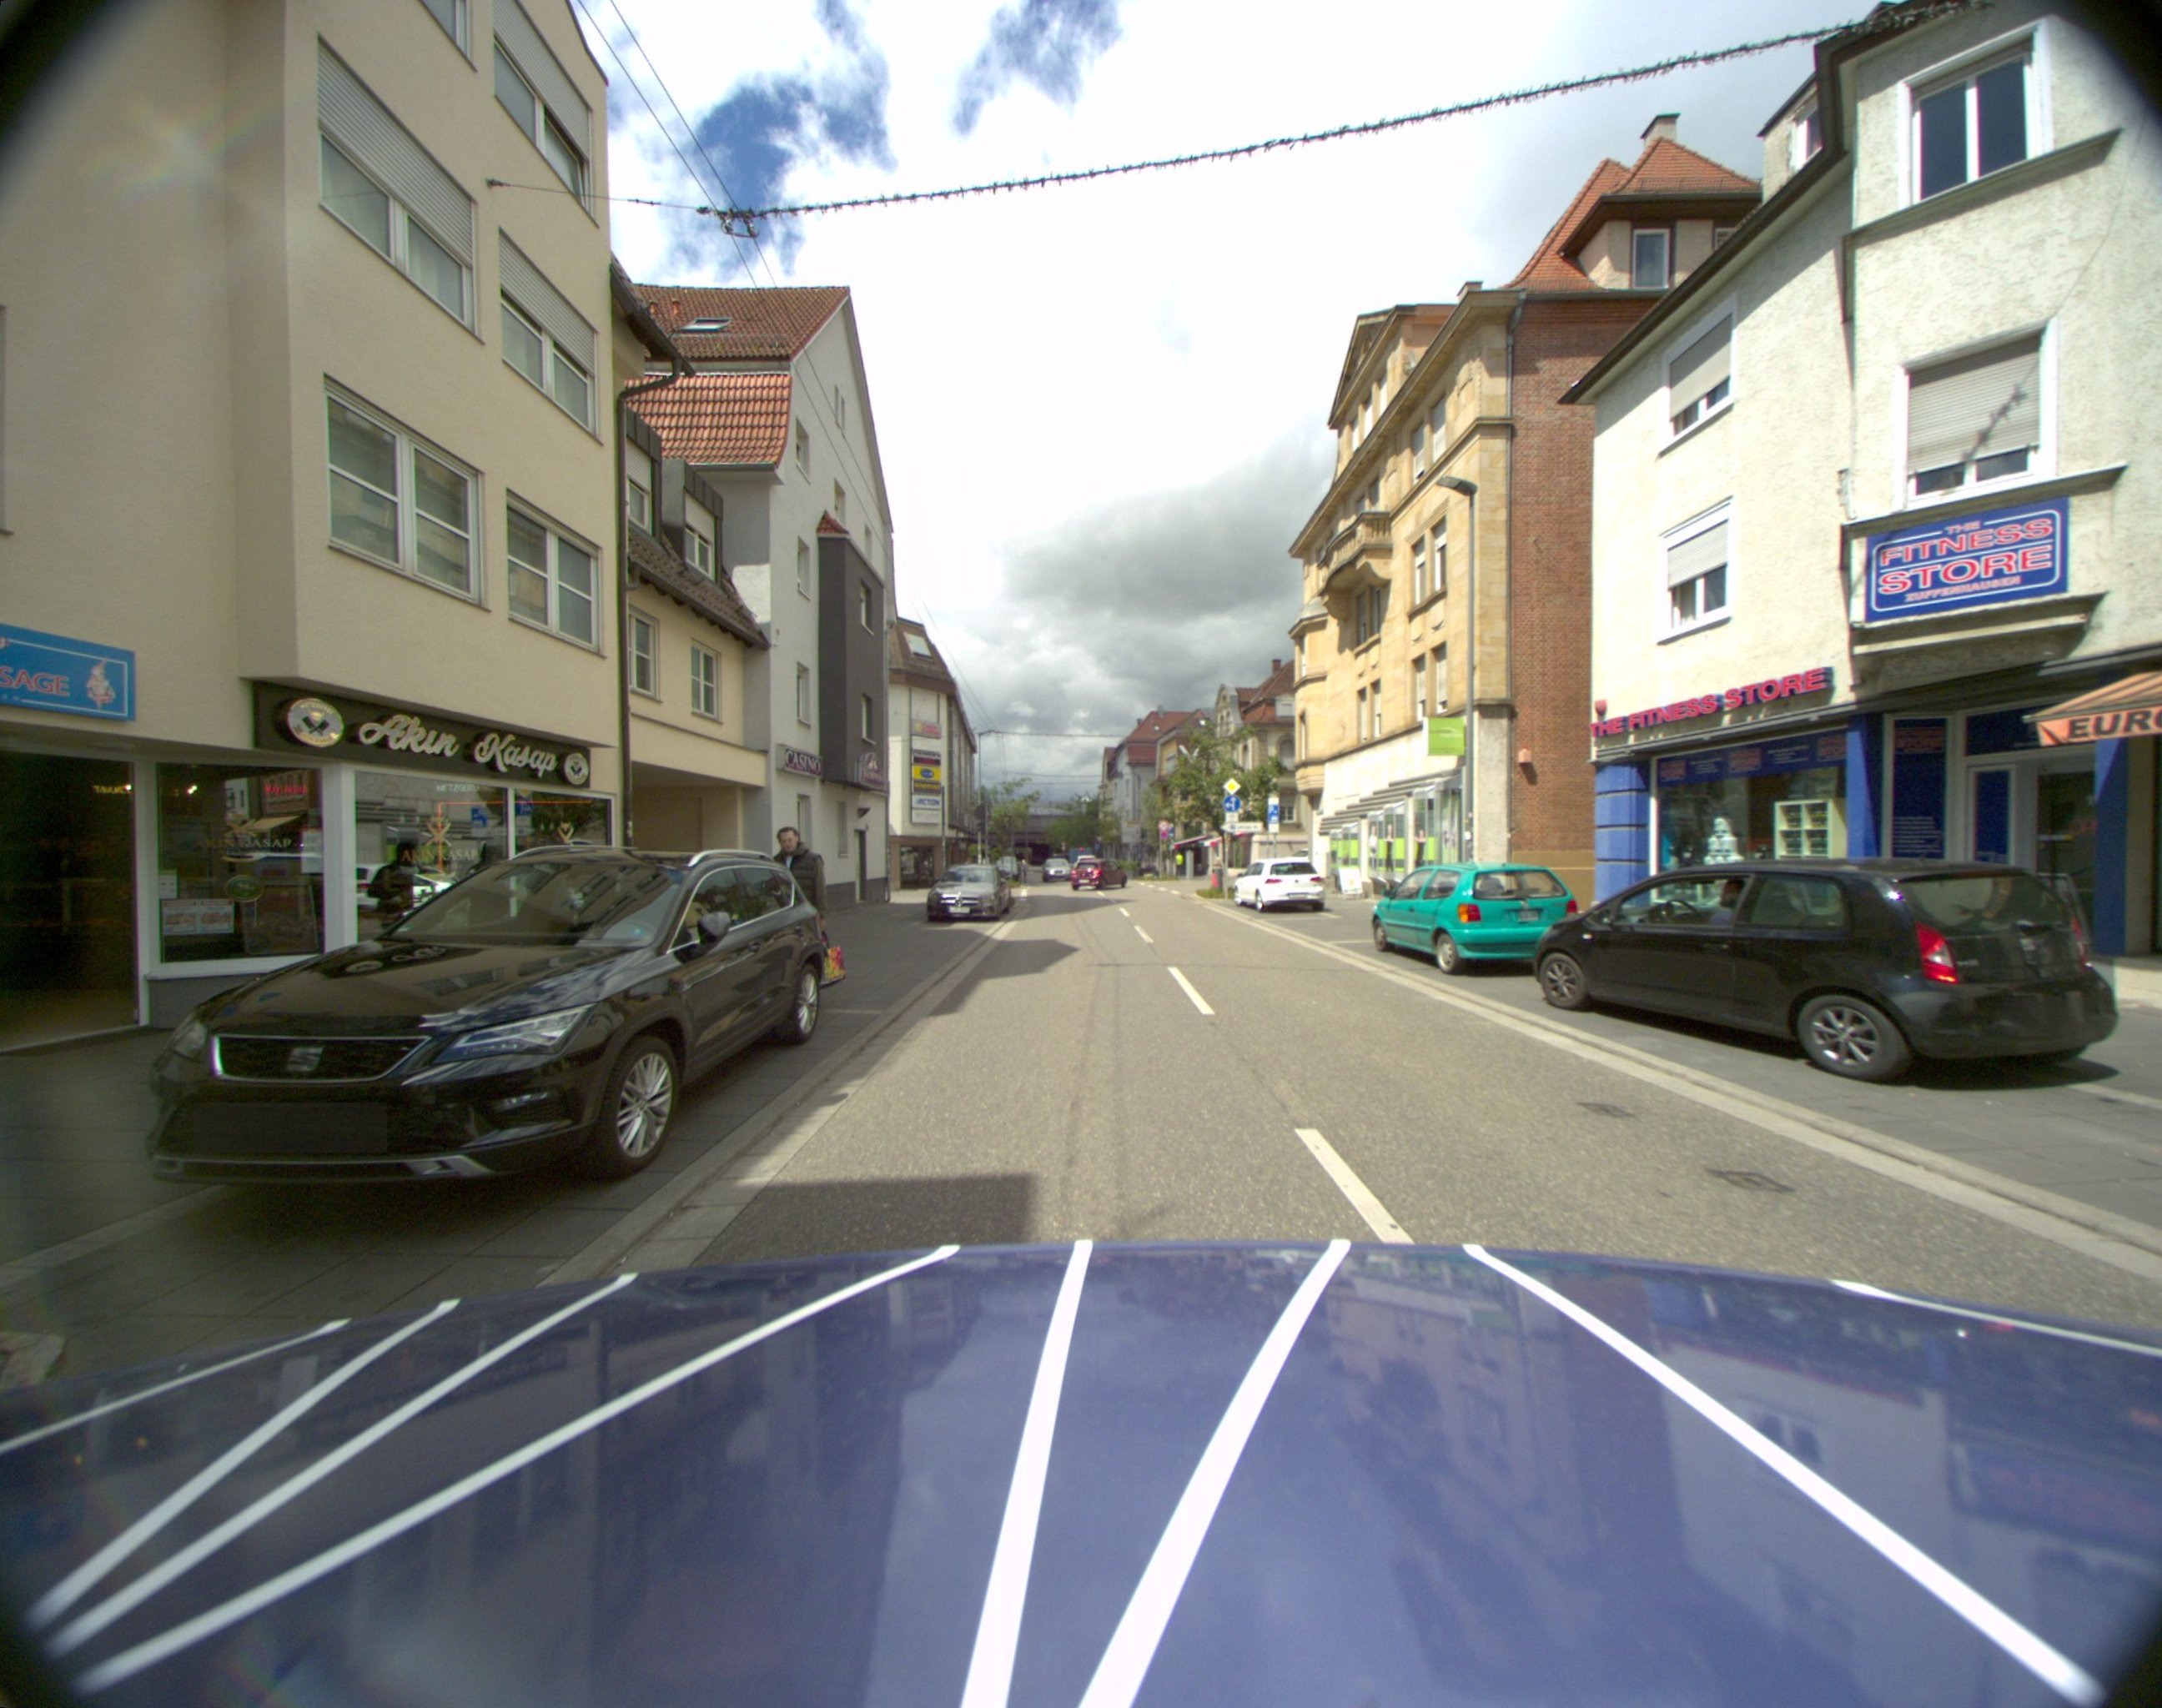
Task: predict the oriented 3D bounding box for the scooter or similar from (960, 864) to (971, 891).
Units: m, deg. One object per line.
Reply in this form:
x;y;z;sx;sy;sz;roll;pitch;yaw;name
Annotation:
-5.923;1.198;38.863;0.432;1.273;1.248;-2;1;-5;scooter or similar

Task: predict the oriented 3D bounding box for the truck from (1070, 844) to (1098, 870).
0.206;0.221;71.433;2.112;2.292;6.472;-2;1;-3;truck

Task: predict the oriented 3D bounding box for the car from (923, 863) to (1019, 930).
-2.829;1.049;20.416;1.711;1.412;4.318;-2;1;3;car

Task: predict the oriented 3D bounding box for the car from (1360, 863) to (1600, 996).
5.398;0.921;10.830;1.589;1.406;3.668;-2;1;2;car

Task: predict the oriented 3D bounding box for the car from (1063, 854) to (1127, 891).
0.726;0.862;36.343;1.533;1.521;3.765;-2;1;27;car

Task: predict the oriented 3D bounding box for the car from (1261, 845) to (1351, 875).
12.422;0.325;41.909;4.391;1.373;1.996;-3;1;-20;car

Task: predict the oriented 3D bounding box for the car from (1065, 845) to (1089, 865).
-0.637;0.055;108.001;2.310;2.657;7.263;-2;1;-8;car

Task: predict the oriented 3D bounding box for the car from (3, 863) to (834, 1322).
-3.076;0.898;4.873;1.804;1.594;4.202;1;0;-3;car

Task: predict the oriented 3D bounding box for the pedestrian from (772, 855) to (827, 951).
-5.157;0.880;13.960;0.745;1.708;0.655;-1;1;-1;pedestrian

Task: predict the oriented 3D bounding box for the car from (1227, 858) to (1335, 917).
5.619;0.884;21.902;1.851;1.390;4.035;-2;1;-3;car

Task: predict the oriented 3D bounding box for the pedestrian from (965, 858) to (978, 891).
-5.622;1.042;39.143;0.572;1.693;0.481;-2;2;-7;pedestrian

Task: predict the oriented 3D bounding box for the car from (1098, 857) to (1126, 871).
2.869;0.950;71.843;1.723;1.296;4.463;-1;-1;-9;car

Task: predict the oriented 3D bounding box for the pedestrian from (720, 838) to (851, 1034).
-2.938;0.777;7.655;0.978;1.853;0.864;1;1;-1;pedestrian

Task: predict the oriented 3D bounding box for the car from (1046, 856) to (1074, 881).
-1.342;0.915;49.318;1.724;1.517;3.597;-1;0;-1;car

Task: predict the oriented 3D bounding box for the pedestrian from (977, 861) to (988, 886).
-6.388;1.242;49.278;0.661;1.553;0.477;-2;2;-3;pedestrian

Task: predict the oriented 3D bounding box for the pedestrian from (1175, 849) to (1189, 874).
7.282;0.509;54.880;0.801;1.746;0.812;-2;2;-8;pedestrian

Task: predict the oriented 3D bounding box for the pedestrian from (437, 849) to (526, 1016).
-6.394;0.815;8.122;0.437;1.708;0.537;-2;2;-3;pedestrian

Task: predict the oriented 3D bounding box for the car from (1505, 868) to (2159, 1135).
5.549;0.889;6.301;1.602;1.437;3.553;-2;0;-11;car

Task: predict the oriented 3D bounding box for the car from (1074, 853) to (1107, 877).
0.768;0.799;56.874;1.791;1.630;4.118;-2;1;10;car

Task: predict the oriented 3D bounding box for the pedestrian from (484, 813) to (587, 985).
-5.676;0.448;7.937;0.537;1.708;0.606;-2;2;-1;pedestrian

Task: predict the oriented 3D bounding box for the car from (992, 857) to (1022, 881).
-4.718;0.921;48.799;1.720;1.445;4.550;-1;0;-3;car

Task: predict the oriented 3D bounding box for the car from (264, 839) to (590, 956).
-11.980;0.756;14.153;4.358;1.921;1.954;2;0;0;car

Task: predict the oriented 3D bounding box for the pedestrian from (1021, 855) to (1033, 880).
-3.498;0.863;49.521;0.584;1.591;0.549;-2;2;17;pedestrian

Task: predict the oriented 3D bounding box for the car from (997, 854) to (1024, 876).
-5.661;0.836;61.316;1.825;1.652;4.465;1;0;-1;car
